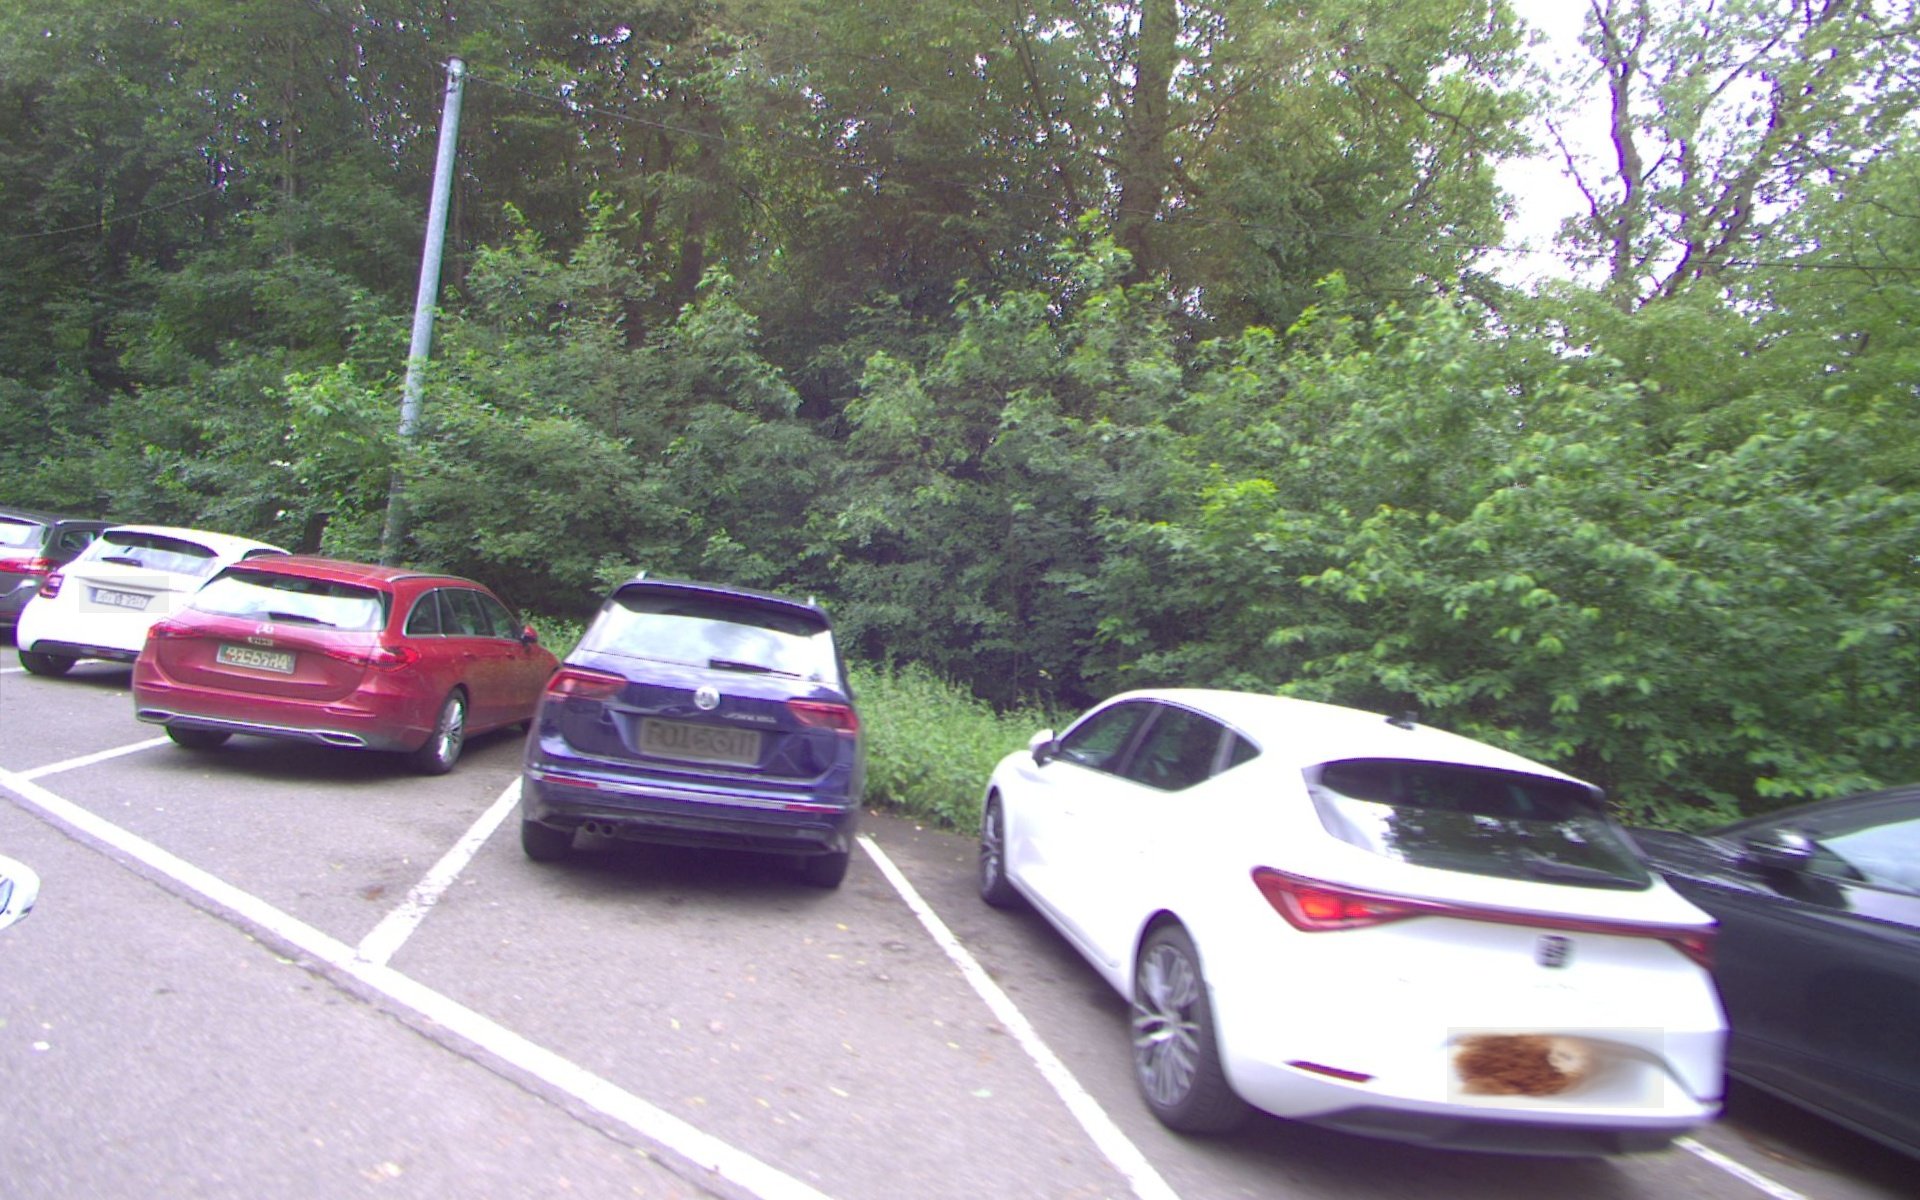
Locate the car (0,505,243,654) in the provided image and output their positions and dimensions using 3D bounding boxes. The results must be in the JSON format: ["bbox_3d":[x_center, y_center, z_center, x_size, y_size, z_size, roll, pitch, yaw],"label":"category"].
[{"bbox_3d":[-10.862,-0.291,12.309,1.776,1.474,4.178,8,-2,-13],"label":"car"}]

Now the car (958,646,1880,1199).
[{"bbox_3d":[1.347,1.129,4.797,1.839,1.455,4.114,8,-2,-10],"label":"car"}]

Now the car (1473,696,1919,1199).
[{"bbox_3d":[4.214,1.425,3.432,1.928,1.598,4.192,8,-2,-15],"label":"car"}]

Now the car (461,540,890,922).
[{"bbox_3d":[-1.708,0.697,6.891,1.812,1.636,4.114,8,-2,-10],"label":"car"}]

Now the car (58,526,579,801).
[{"bbox_3d":[-4.661,0.448,8.239,1.896,1.429,4.292,8,-2,-9],"label":"car"}]

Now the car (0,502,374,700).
[{"bbox_3d":[-7.932,0.038,10.690,1.707,1.522,3.576,8,-2,-11],"label":"car"}]

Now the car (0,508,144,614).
[{"bbox_3d":[-14.129,-0.645,14.531,1.936,1.393,4.251,8,-2,-15],"label":"car"}]

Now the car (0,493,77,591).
[{"bbox_3d":[-17.390,-1.149,16.874,1.935,1.655,4.253,8,-2,-13],"label":"car"}]
